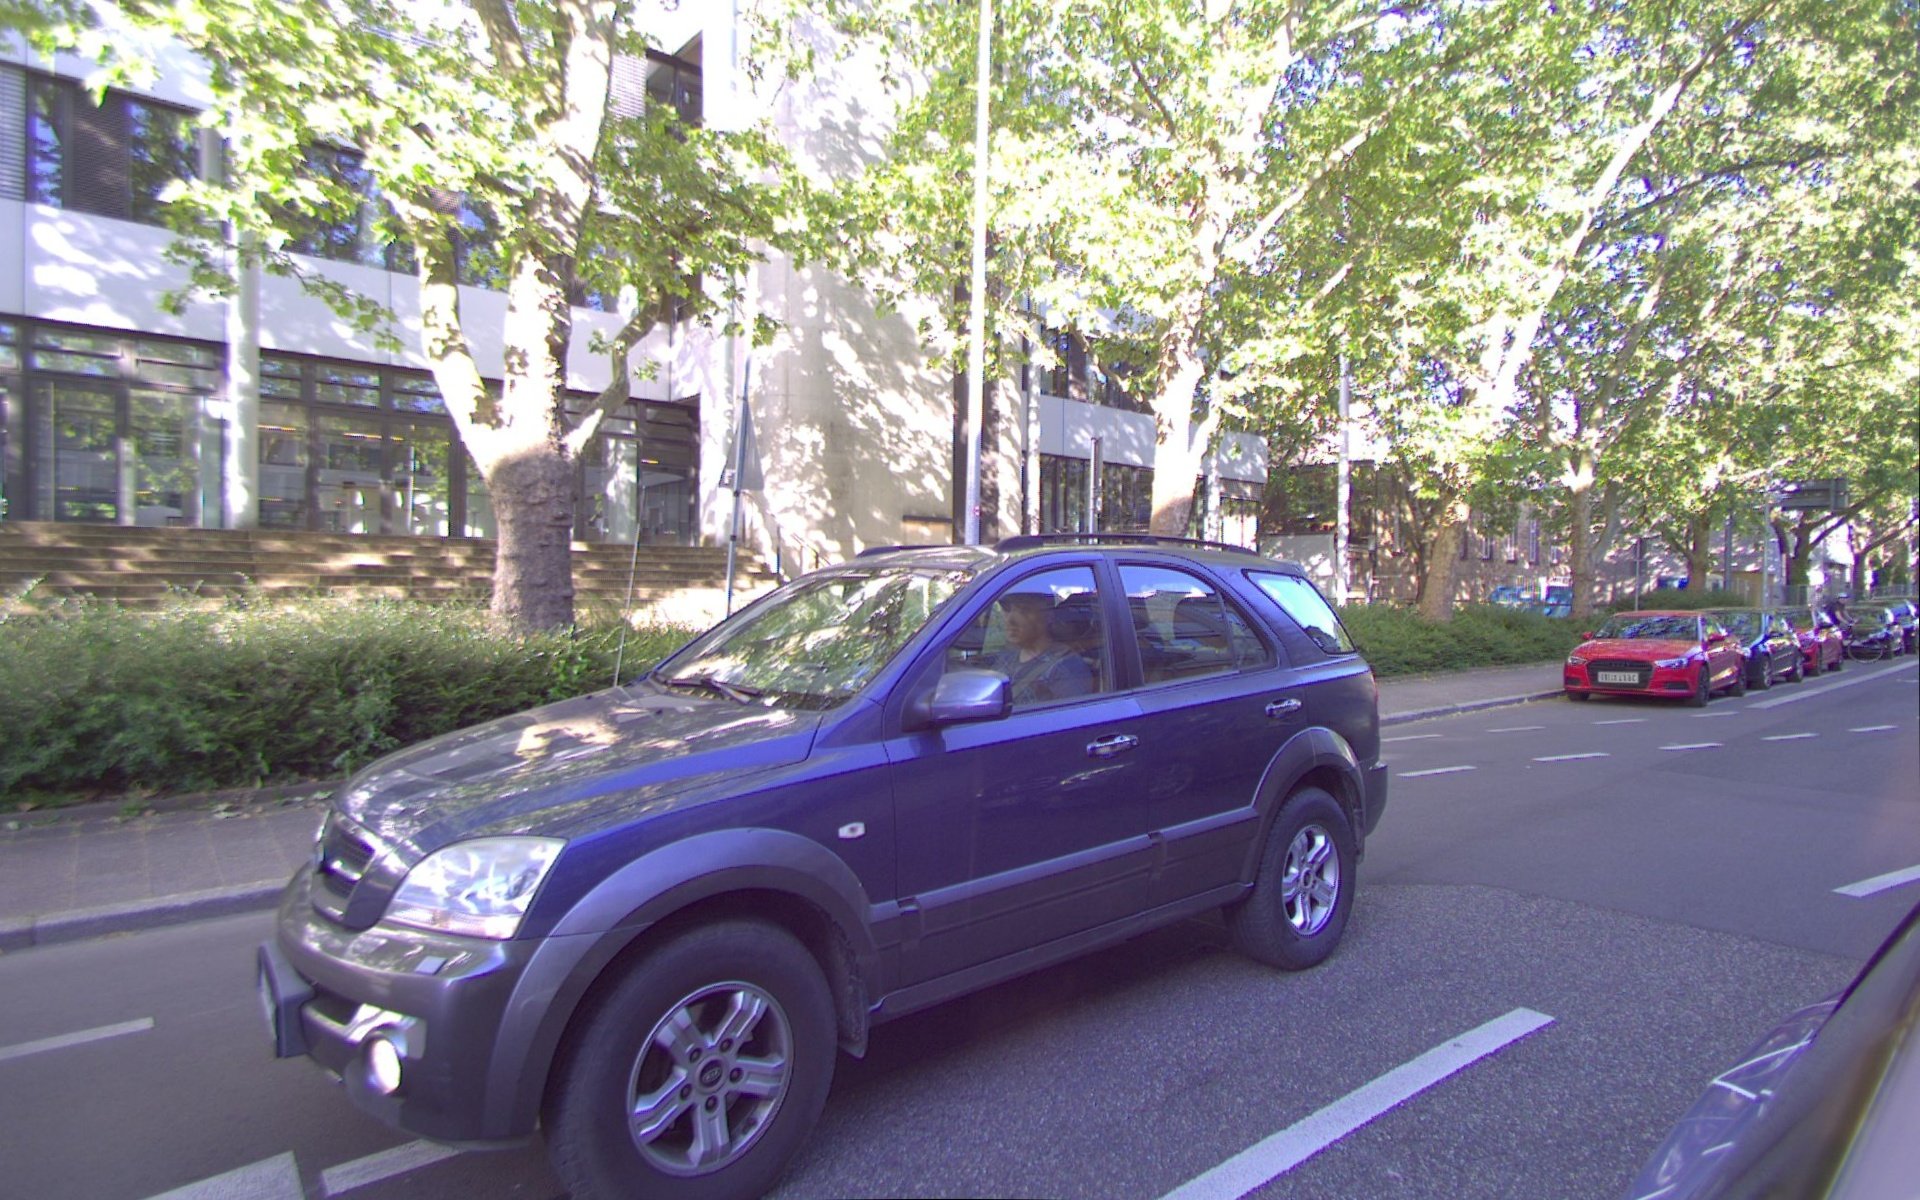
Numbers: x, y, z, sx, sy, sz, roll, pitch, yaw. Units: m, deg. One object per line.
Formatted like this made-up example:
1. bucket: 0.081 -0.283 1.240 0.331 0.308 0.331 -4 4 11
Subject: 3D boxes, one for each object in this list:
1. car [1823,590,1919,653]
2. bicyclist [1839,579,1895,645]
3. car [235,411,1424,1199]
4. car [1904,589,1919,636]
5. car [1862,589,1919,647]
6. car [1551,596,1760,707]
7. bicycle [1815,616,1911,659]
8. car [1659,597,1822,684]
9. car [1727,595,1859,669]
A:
1. car: 25.983 0.565 28.731 4.022 1.653 1.739 0 1 -42
2. bicyclist: 23.160 0.286 25.862 1.032 1.640 0.688 0 0 39
3. car: -0.109 0.552 3.933 4.306 1.793 1.784 0 -1 -40
4. car: 38.745 0.490 40.000 3.829 1.818 1.739 0 1 -42
5. car: 29.782 0.525 31.873 3.840 1.708 1.633 0 1 -42
6. car: 11.185 0.732 16.174 4.071 1.548 1.827 0 -1 -42
7. bicycle: 23.080 0.941 25.918 1.790 1.027 0.724 0 0 39
8. car: 14.954 0.705 19.330 4.022 1.472 1.739 0 -1 -42
9. car: 18.631 0.666 22.578 3.851 1.511 1.679 0 -1 -42
